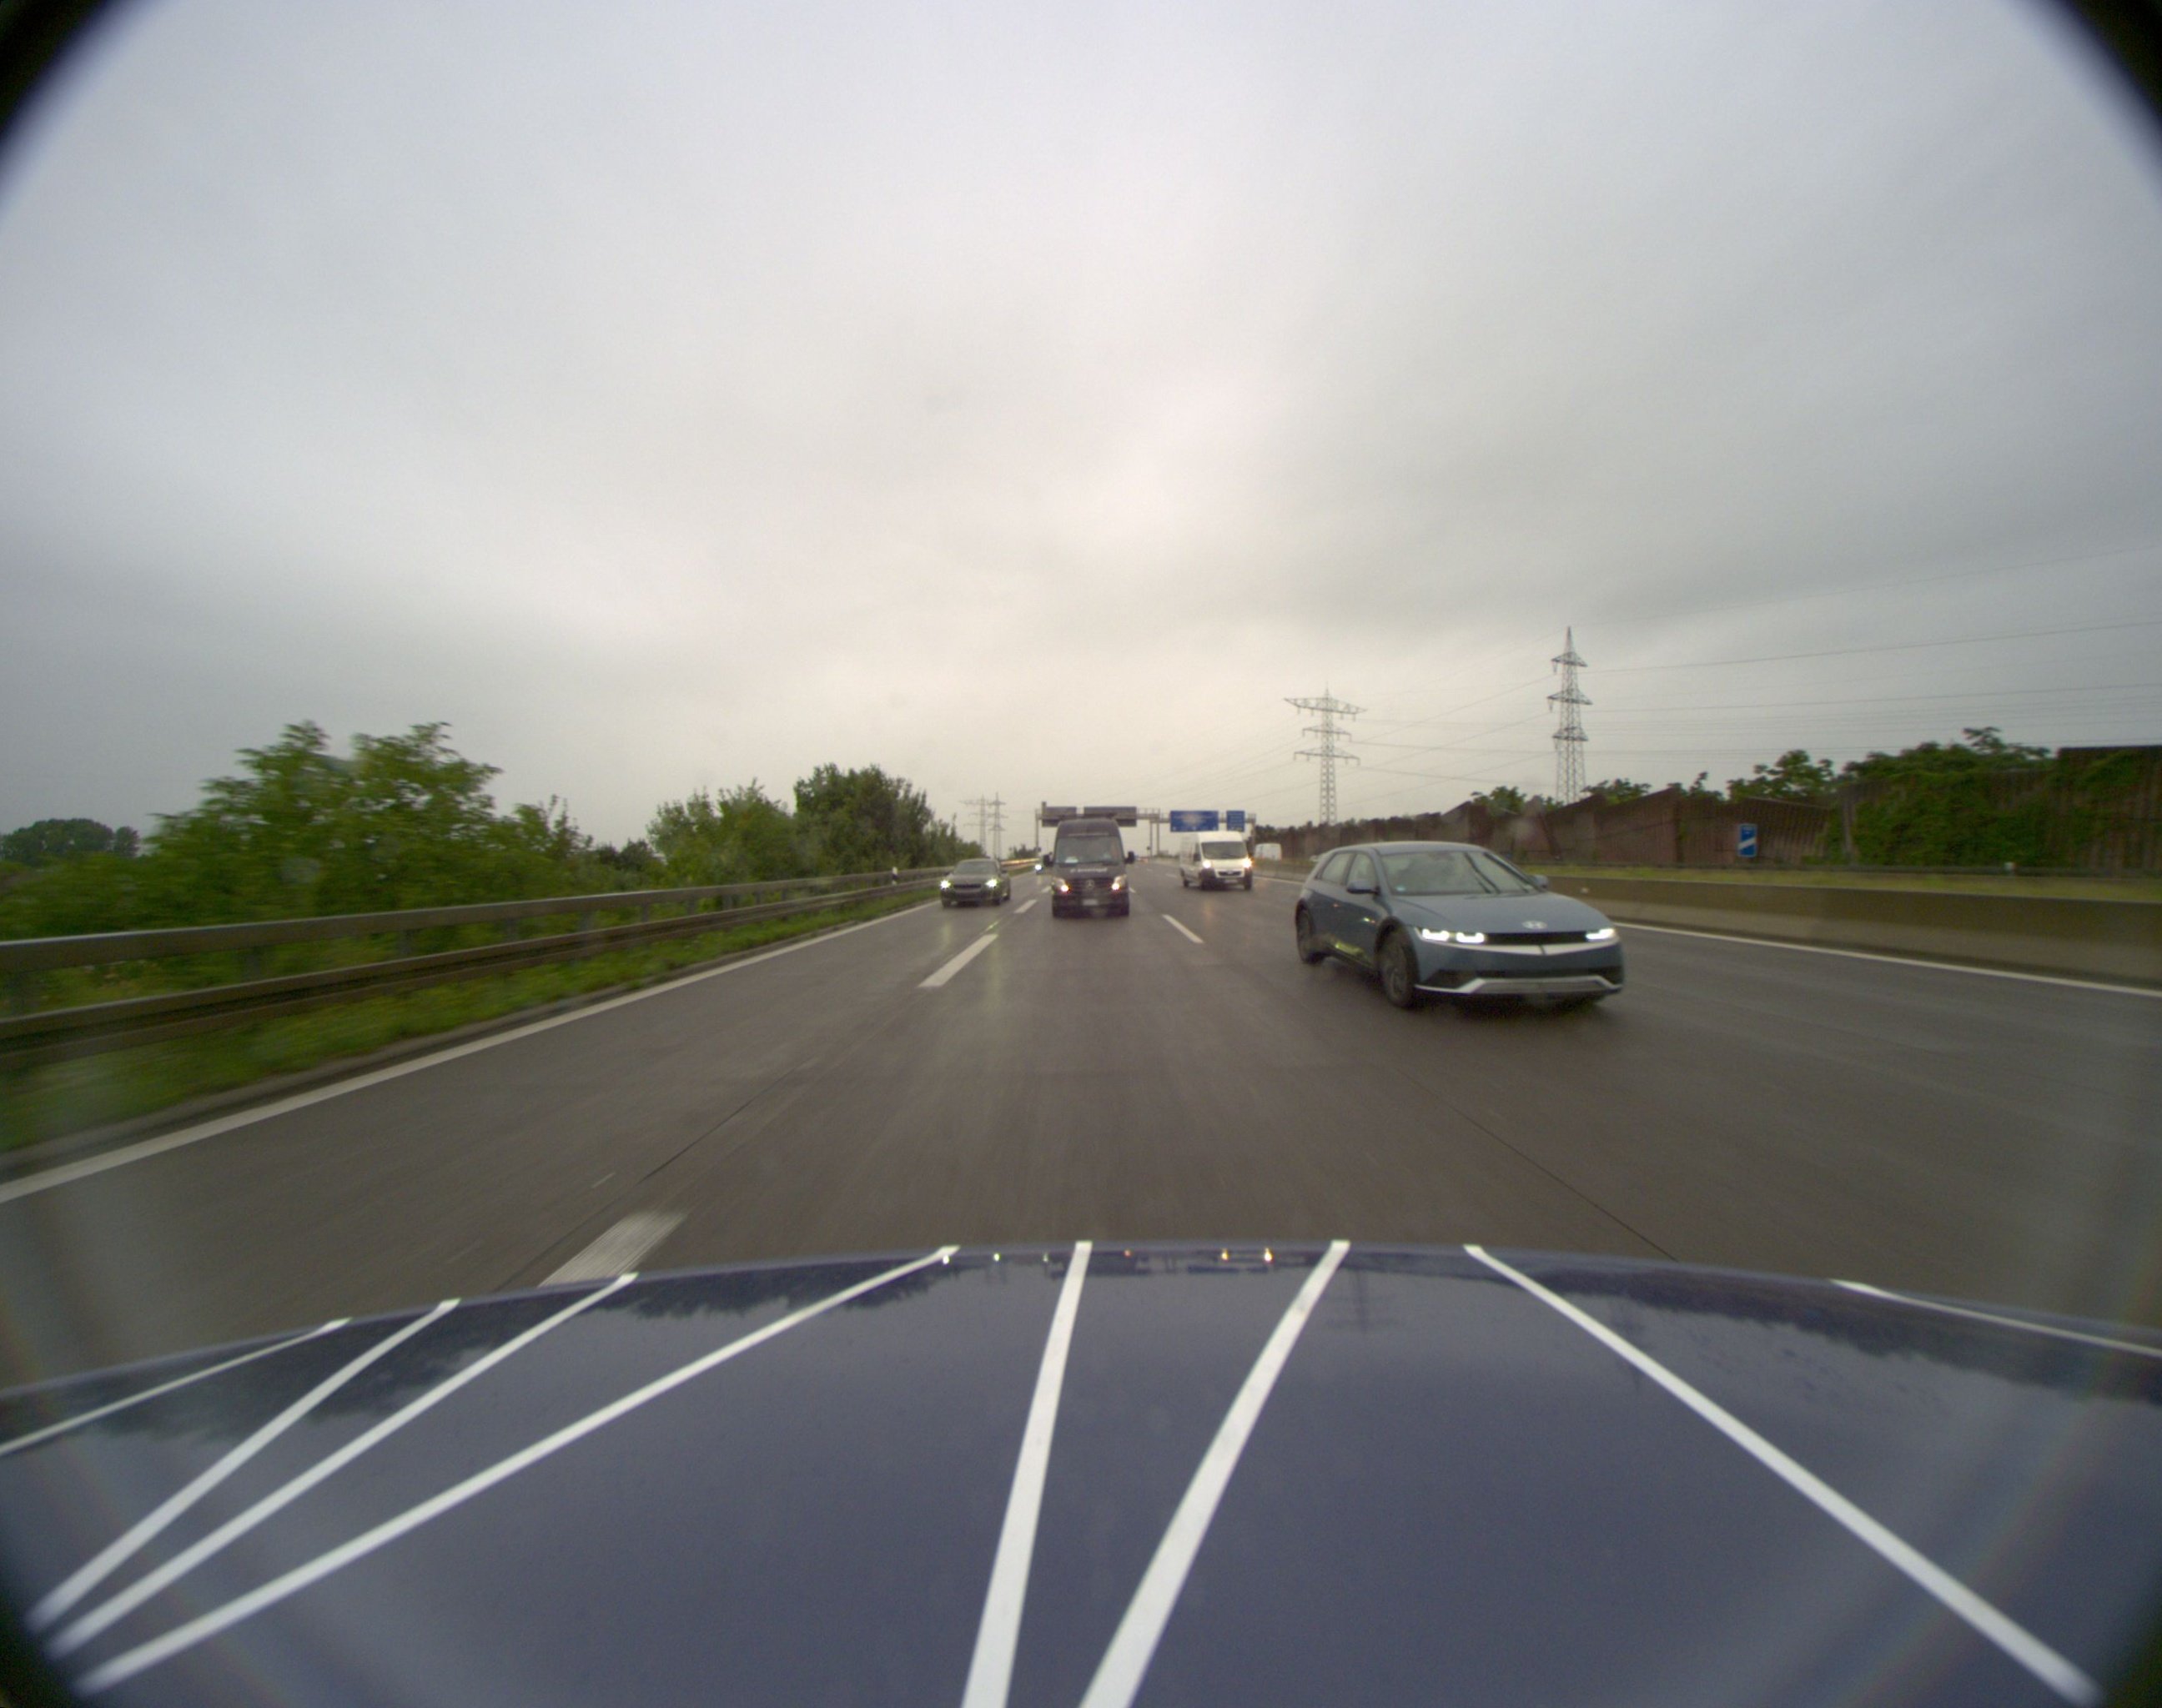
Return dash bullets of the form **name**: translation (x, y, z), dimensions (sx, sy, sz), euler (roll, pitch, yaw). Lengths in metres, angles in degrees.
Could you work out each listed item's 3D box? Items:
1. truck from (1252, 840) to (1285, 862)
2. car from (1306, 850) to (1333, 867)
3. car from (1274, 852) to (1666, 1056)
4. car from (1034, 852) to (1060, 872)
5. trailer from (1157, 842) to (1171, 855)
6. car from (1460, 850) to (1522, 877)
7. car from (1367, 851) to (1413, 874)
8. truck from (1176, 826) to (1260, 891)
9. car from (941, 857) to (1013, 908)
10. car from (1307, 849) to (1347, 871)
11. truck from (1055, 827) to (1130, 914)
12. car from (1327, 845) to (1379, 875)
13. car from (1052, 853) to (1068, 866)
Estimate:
- **truck**: translation (19.190, -0.319, 78.083), dimensions (2.150, 2.193, 5.419), euler (-1, 0, 1)
- **car**: translation (28.600, 0.526, 91.176), dimensions (1.998, 2.002, 4.000), euler (-1, 0, 1)
- **car**: translation (3.806, 0.799, 8.722), dimensions (1.843, 1.585, 5.155), euler (-1, 0, 0)
- **car**: translation (-2.838, 0.667, 64.887), dimensions (1.998, 1.706, 4.000), euler (1, 0, 0)
- **trailer**: translation (26.752, -1.741, 246.203), dimensions (3.064, 4.162, 13.569), euler (-2, 0, 0)
- **car**: translation (28.136, 0.641, 52.332), dimensions (1.998, 1.729, 4.264), euler (-1, 0, 1)
- **car**: translation (24.319, 0.635, 59.966), dimensions (1.998, 1.729, 4.264), euler (-1, 0, 1)
- **truck**: translation (5.730, 0.160, 32.883), dimensions (2.243, 2.464, 6.582), euler (-2, 0, -1)
- **car**: translation (-3.450, 0.915, 25.905), dimensions (1.862, 1.531, 4.203), euler (-2, 0, -1)
- **car**: translation (20.592, 0.498, 63.731), dimensions (1.998, 1.729, 4.466), euler (-1, 0, 1)
- **truck**: translation (0.235, 0.430, 23.568), dimensions (1.999, 2.324, 6.109), euler (-1, 1, -1)
- **car**: translation (16.808, 0.368, 47.161), dimensions (1.858, 1.729, 4.000), euler (-1, 0, 1)
- **car**: translation (-2.782, 0.688, 100.463), dimensions (1.998, 1.706, 4.000), euler (1, 0, 0)
